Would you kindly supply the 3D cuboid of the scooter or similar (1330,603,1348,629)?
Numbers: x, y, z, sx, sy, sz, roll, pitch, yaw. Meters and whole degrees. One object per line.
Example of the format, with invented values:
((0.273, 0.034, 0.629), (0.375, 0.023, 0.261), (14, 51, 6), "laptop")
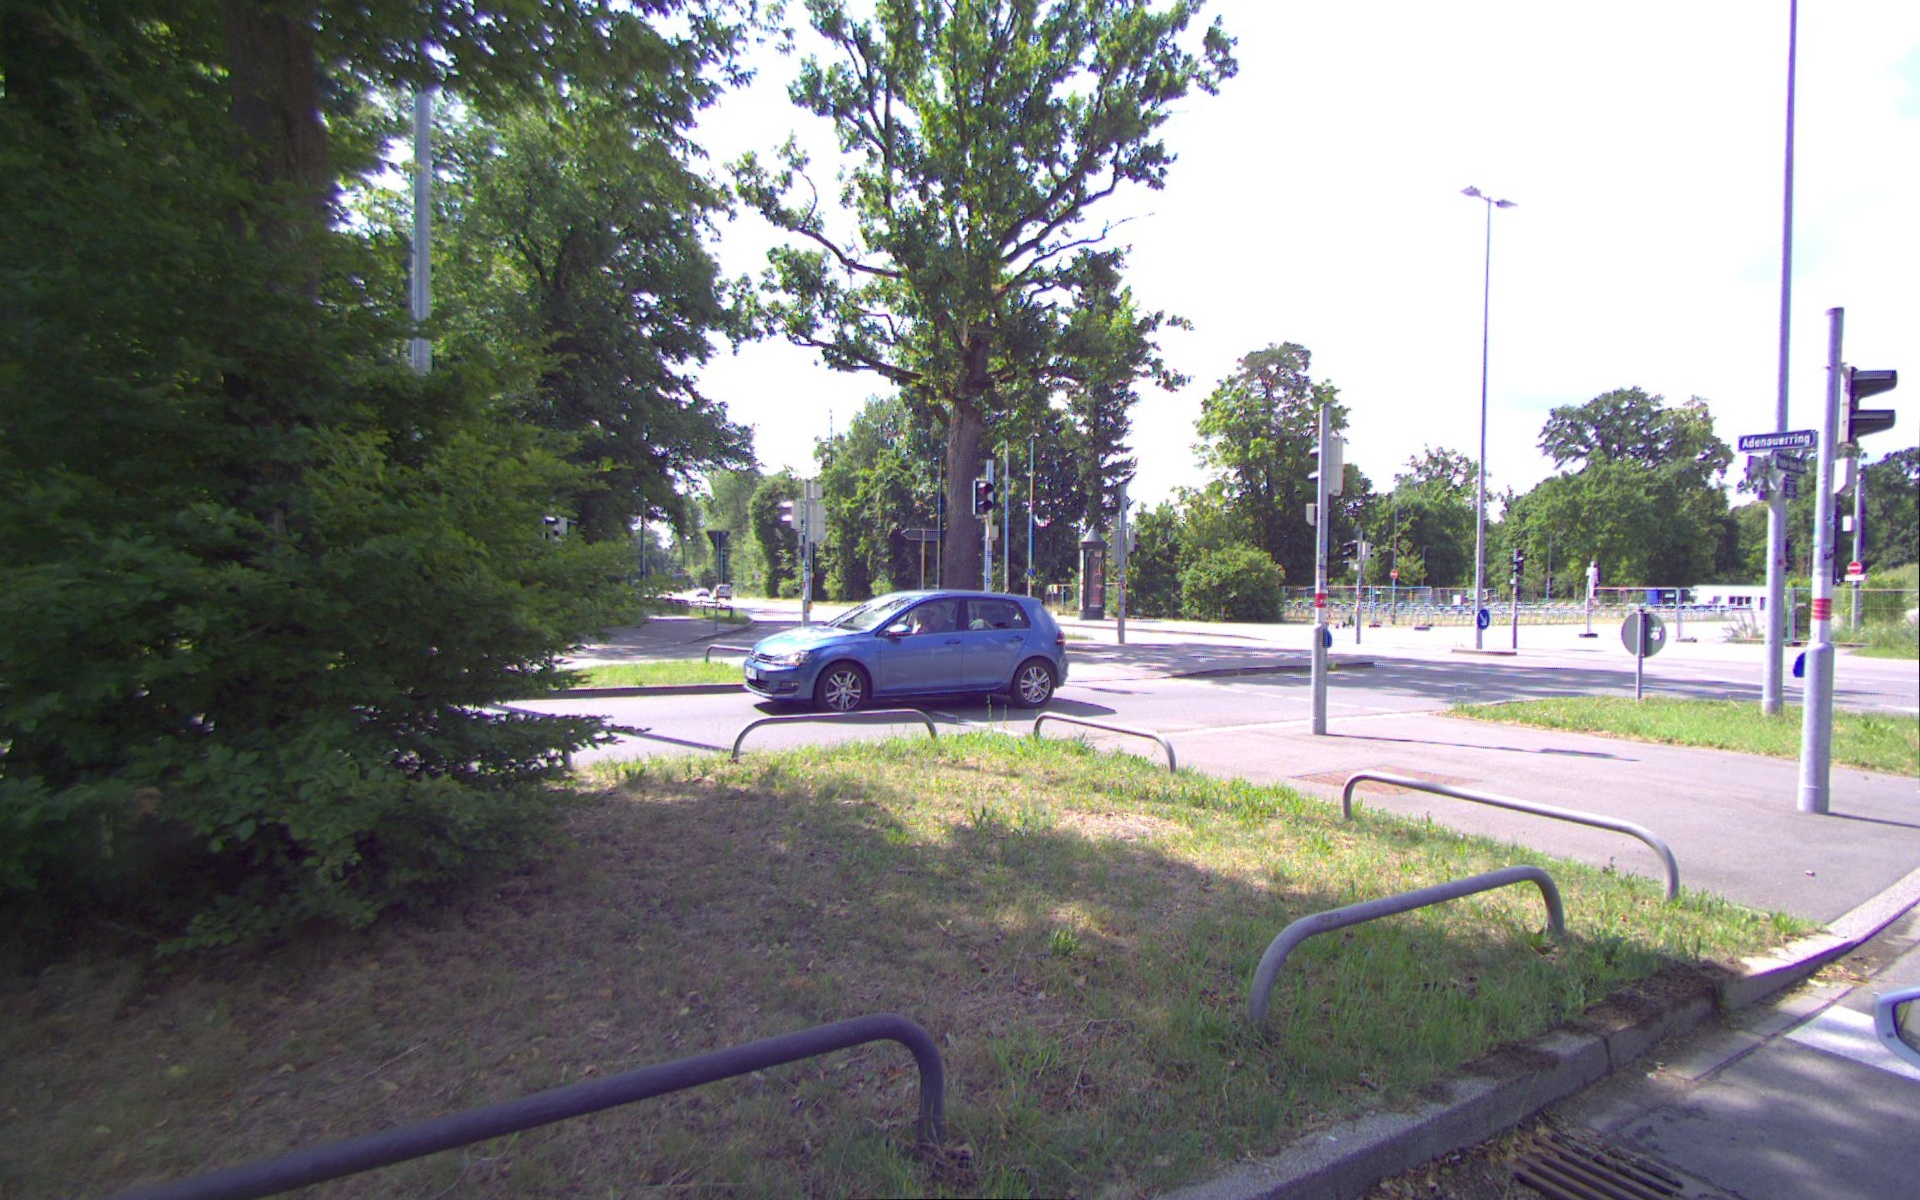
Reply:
((18.504, 0.785, 49.040), (0.399, 1.216, 1.312), (0, 1, 0), "scooter or similar")

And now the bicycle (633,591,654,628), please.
((-10.479, 0.305, 33.268), (0.413, 1.189, 1.228), (2, 0, -8), "bicycle")

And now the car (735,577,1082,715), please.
((-0.616, 0.546, 12.655), (4.017, 1.466, 1.687), (2, 2, -29), "car")

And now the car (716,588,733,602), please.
((-29.911, -0.679, 127.691), (1.689, 1.714, 3.698), (2, 0, -20), "car")

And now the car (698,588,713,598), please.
((-39.957, -1.114, 157.487), (1.810, 1.514, 4.088), (2, 0, -20), "car")

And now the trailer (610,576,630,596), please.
((-42.574, -1.733, 125.704), (1.972, 2.420, 3.976), (2, 0, -24), "trailer")
